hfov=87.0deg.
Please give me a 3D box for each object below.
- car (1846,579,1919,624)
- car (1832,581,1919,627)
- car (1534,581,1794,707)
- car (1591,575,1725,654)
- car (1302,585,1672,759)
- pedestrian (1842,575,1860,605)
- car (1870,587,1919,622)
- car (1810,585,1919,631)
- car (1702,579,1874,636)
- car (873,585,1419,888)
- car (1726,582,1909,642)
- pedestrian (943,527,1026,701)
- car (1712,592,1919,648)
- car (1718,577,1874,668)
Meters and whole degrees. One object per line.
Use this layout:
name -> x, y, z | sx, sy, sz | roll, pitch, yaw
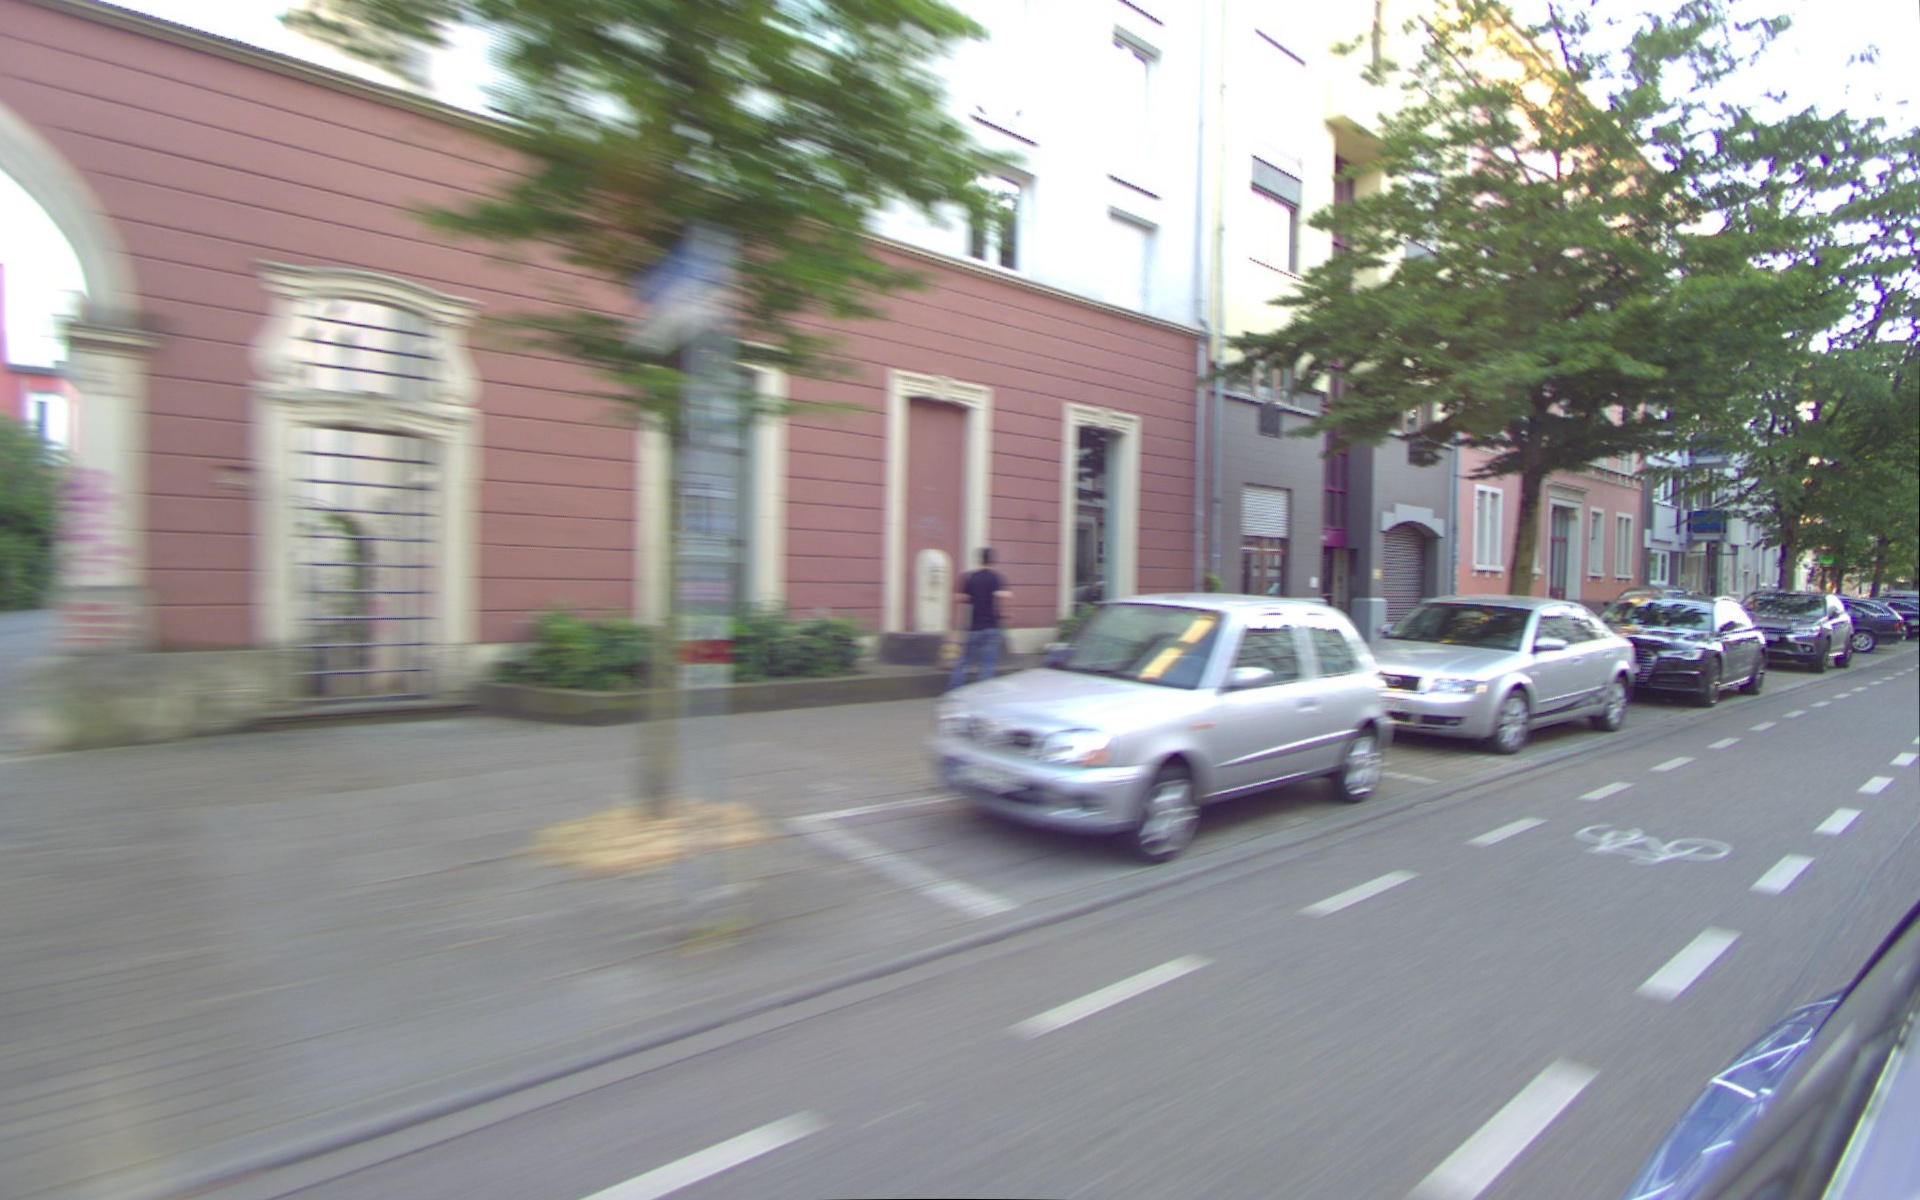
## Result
car -> 41.477, 0.078, 44.032 | 3.964, 1.838, 1.806 | 3, 2, 28
car -> 37.831, 0.195, 40.408 | 4.152, 1.717, 1.830 | 3, 2, 27
car -> 10.529, 0.513, 14.979 | 4.948, 1.507, 1.997 | 0, 3, -41
car -> 15.941, 0.274, 23.045 | 1.880, 1.603, 3.957 | 2, 2, 44
car -> 5.744, 0.592, 10.773 | 4.607, 1.397, 1.785 | 0, 3, -39
pedestrian -> 57.705, -0.654, 65.549 | 0.600, 1.855, 0.561 | 3, 0, -4
car -> 45.684, 0.227, 47.577 | 3.966, 1.559, 1.761 | 1, 1, 30
car -> 33.168, 0.297, 36.020 | 4.375, 1.482, 1.694 | 3, 2, 42
car -> 26.704, 0.203, 32.821 | 3.964, 1.613, 1.703 | 3, 1, 28
car -> 1.407, 0.643, 6.765 | 3.711, 1.397, 1.622 | 0, 4, -42
car -> 25.835, 0.337, 30.690 | 3.944, 1.573, 1.700 | 3, 1, 32
pedestrian -> 0.265, 0.136, 11.122 | 0.589, 1.839, 0.682 | 0, 1, -41
car -> 24.044, 0.523, 28.561 | 4.216, 1.405, 1.608 | 1, 1, 24
car -> 17.733, 0.407, 21.406 | 4.189, 1.637, 1.883 | 0, 4, -42
